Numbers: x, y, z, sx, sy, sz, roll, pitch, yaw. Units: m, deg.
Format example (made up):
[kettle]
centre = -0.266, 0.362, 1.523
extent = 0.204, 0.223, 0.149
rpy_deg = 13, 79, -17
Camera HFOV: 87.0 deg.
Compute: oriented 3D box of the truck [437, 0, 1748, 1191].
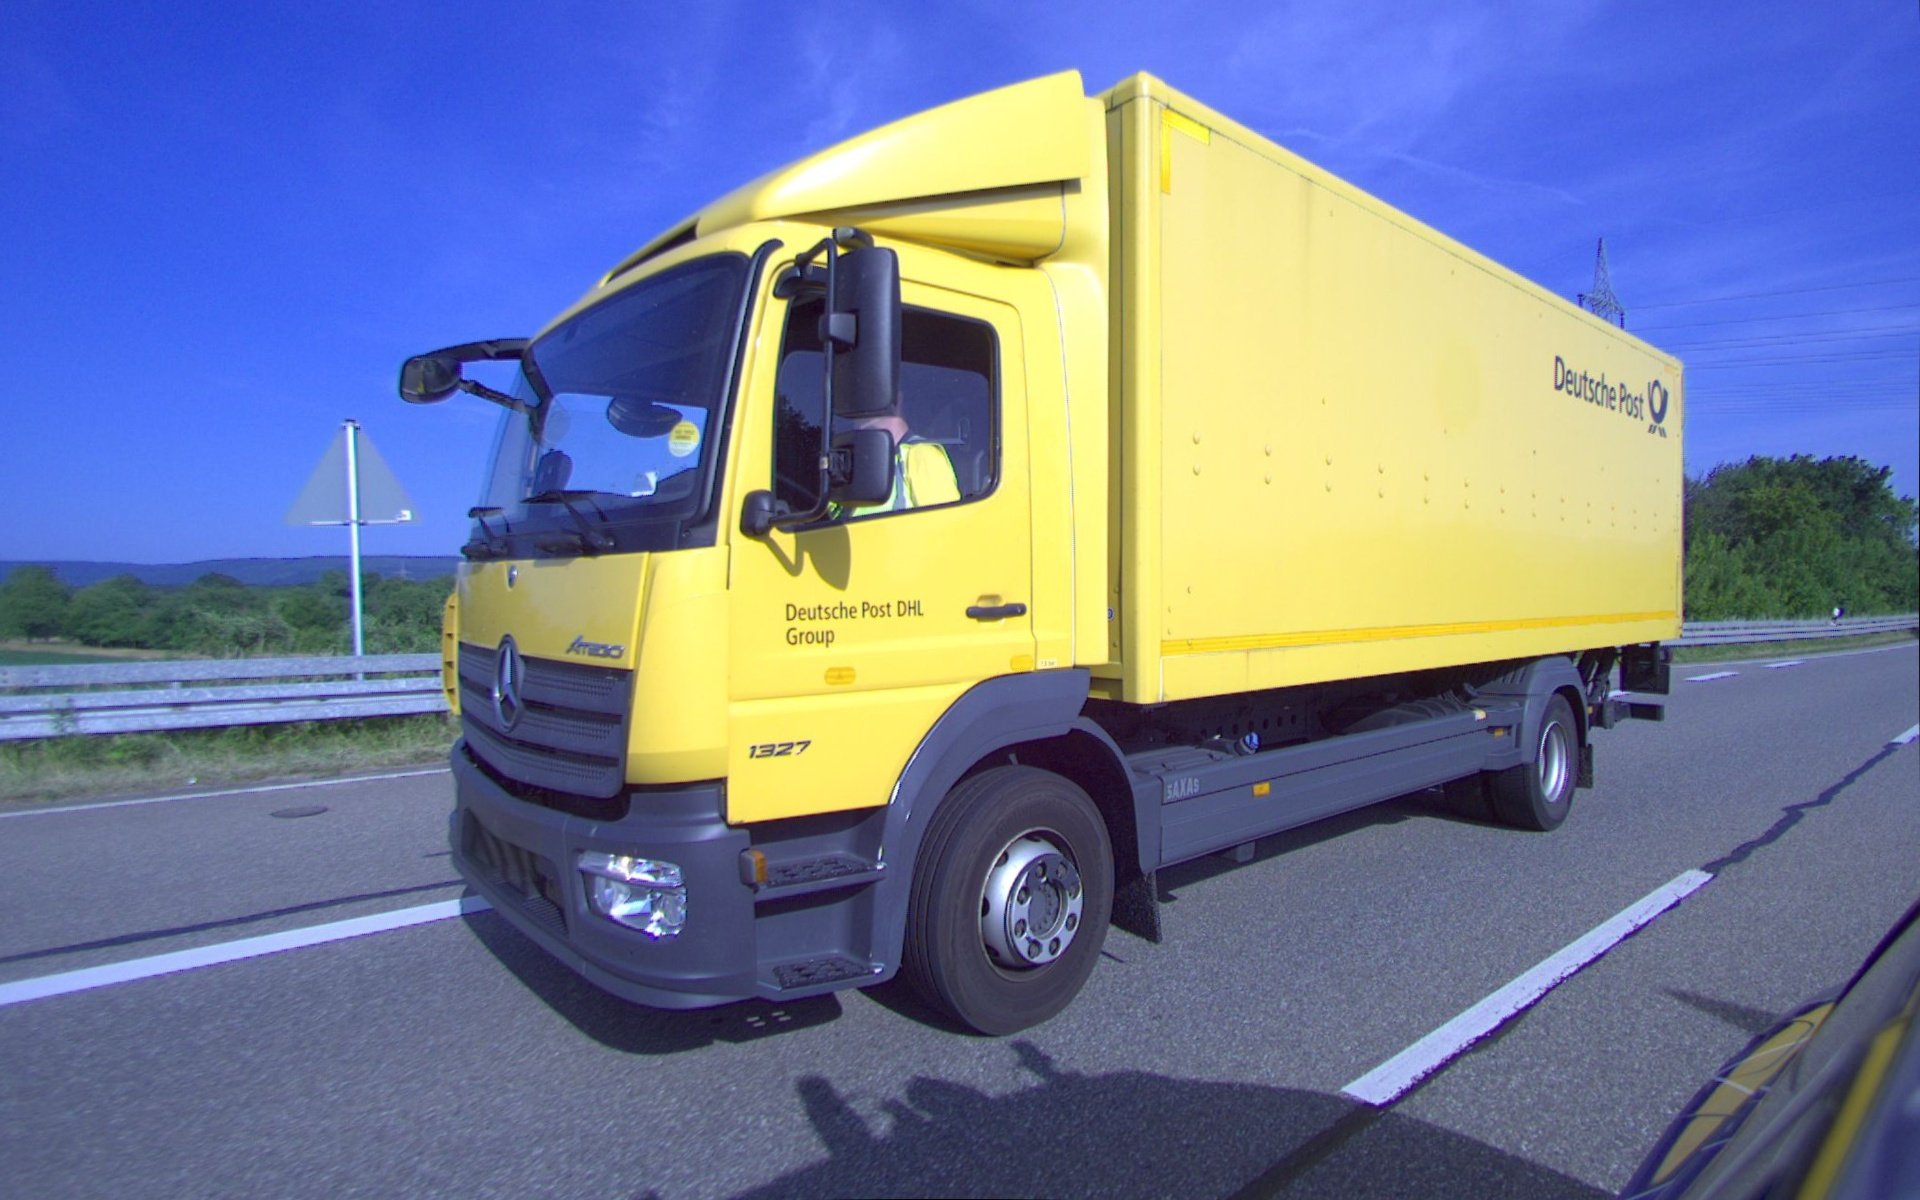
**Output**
[truck]
centre = 2.422, -0.277, 6.904
extent = 10.306, 3.359, 2.783
rpy_deg = 0, 0, -41
